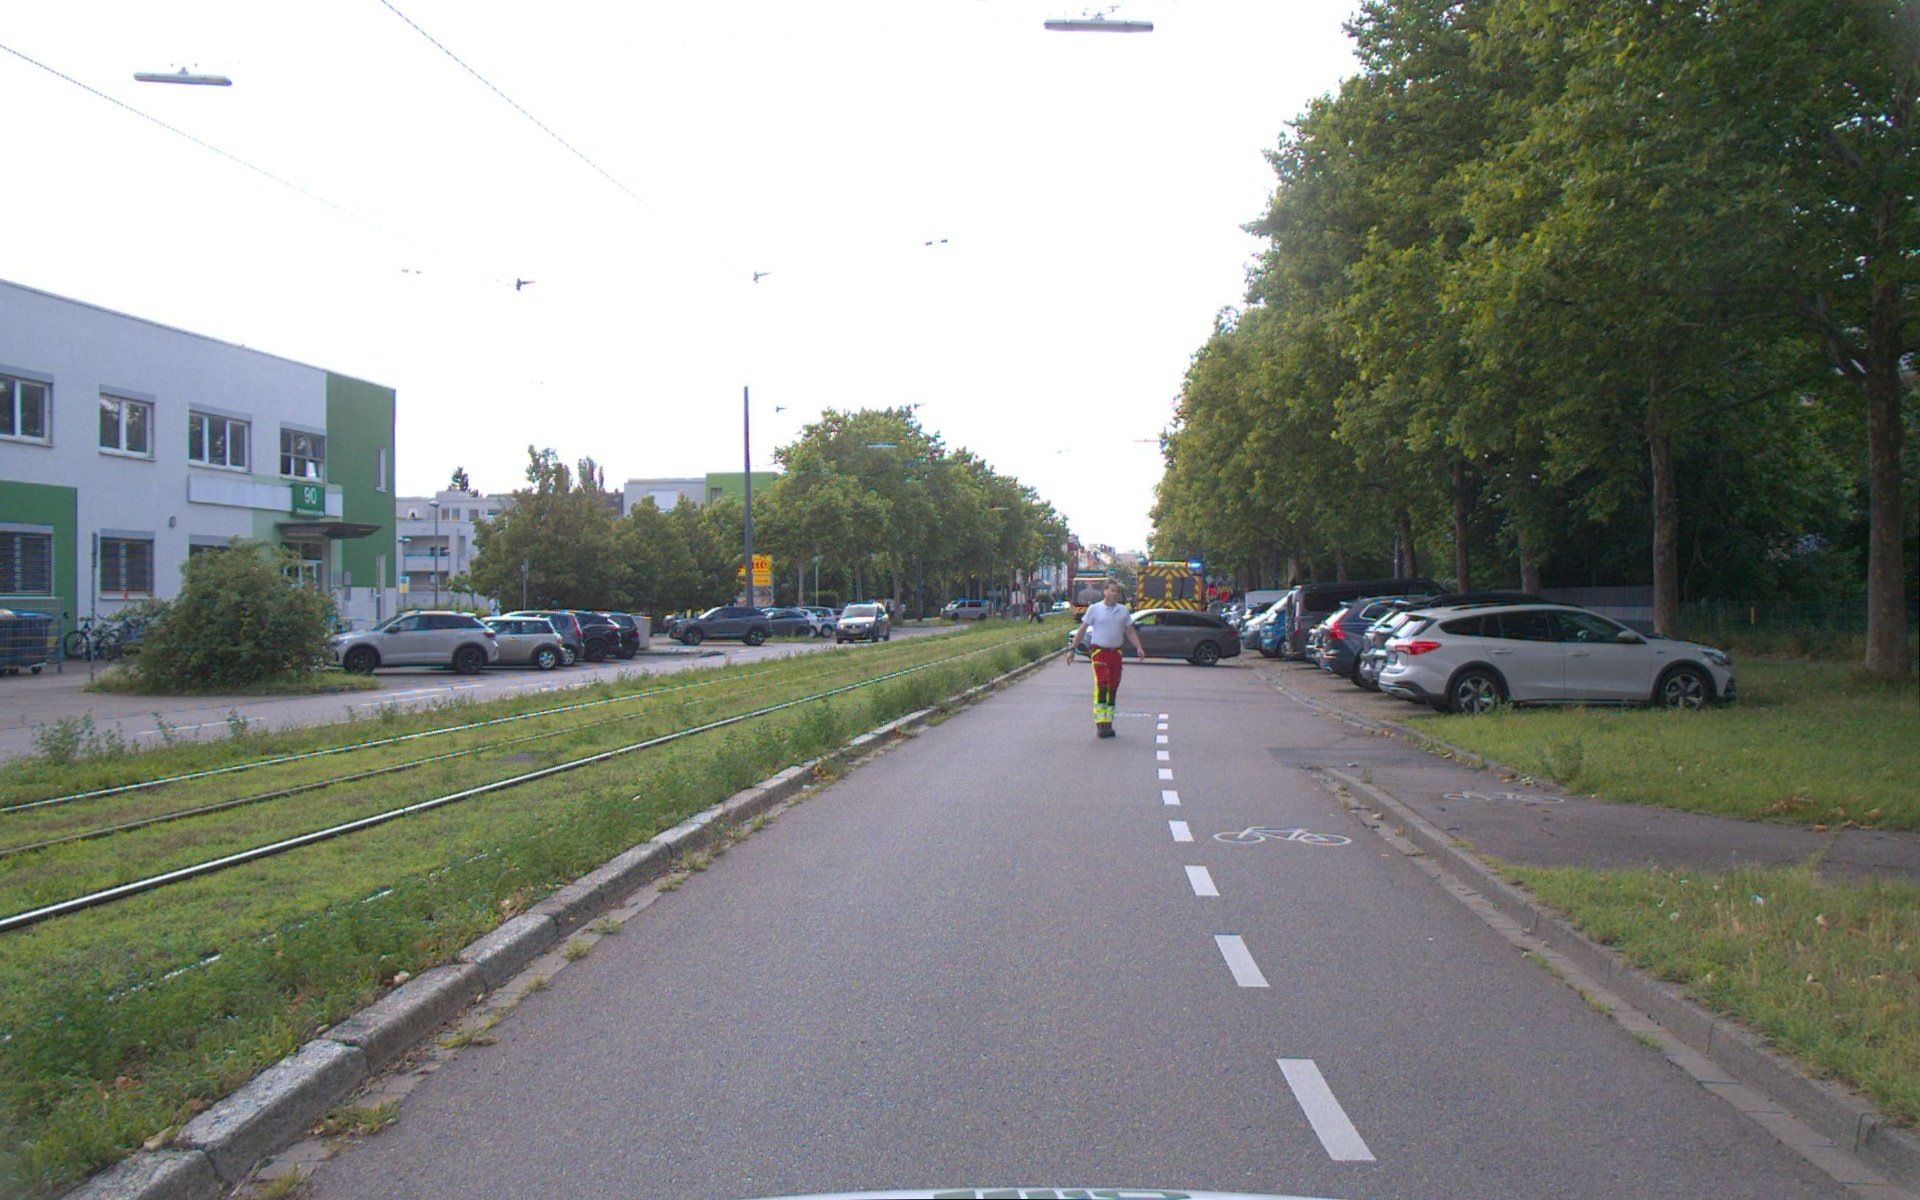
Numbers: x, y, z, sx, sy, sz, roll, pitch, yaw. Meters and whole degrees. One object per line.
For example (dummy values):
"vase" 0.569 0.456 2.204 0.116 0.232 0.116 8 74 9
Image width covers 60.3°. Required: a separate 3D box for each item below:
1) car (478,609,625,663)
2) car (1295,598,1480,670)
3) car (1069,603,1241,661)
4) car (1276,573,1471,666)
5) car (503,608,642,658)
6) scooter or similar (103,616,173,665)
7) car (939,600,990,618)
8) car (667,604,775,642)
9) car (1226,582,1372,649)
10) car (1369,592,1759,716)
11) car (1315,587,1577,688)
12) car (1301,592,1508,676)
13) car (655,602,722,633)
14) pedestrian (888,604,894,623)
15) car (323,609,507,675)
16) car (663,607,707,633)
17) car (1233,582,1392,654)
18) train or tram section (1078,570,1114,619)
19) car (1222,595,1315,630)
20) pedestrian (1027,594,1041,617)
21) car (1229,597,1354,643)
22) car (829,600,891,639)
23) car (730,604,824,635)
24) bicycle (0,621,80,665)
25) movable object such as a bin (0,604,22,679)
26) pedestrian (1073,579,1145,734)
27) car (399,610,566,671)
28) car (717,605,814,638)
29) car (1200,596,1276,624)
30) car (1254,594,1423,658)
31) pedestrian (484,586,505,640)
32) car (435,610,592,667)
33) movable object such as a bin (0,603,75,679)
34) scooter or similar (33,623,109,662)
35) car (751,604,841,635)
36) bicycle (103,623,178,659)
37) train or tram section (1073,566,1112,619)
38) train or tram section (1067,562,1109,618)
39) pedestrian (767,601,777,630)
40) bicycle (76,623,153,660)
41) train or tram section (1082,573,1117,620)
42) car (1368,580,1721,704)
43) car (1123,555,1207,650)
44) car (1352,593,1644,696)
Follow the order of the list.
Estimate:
"car" -12.461 1.063 50.432 4.162 1.508 1.871 -1 0 -22
"car" 9.775 0.773 38.070 3.881 1.520 1.757 -1 -1 7
"car" 5.161 0.840 44.094 4.362 1.410 1.767 2 0 0
"car" 10.224 0.485 41.176 4.449 2.160 1.857 -1 0 7
"car" -12.557 1.033 53.578 4.162 1.508 1.871 -1 0 -22
"scooter or similar" -20.549 1.021 41.356 1.281 1.176 1.090 1 -1 36
"car" 0.392 0.825 156.167 4.568 1.661 1.863 -1 0 -32
"car" -9.824 0.952 67.870 4.155 1.508 1.874 1 -1 -18
"car" 11.171 0.505 54.739 4.450 2.079 1.856 -1 0 3
"car" 7.988 0.696 22.223 4.560 1.499 1.849 -1 0 3
"car" 8.613 0.658 29.647 4.287 1.668 1.757 -1 0 9
"car" 9.413 0.709 35.235 3.887 1.633 1.755 -1 0 -3
"car" -16.872 1.059 102.728 3.924 1.780 1.990 2 0 39
"pedestrian" -5.406 1.069 130.392 0.412 1.499 0.467 -1 0 3
"car" -13.687 1.026 41.570 4.171 1.508 1.867 -1 0 -27
"car" -19.543 1.414 117.658 1.951 1.780 4.003 1 0 7
"car" 10.645 0.531 50.170 4.450 2.036 1.856 -1 0 3
"train or tram section" 10.632 -0.370 128.883 2.458 3.647 7.450 -2 -1 7
"car" 15.755 0.633 84.609 4.450 1.637 1.856 -1 0 3
"pedestrian" 4.932 0.371 110.402 0.862 1.552 0.751 1 -1 7
"car" 12.647 0.747 63.254 4.450 1.637 1.856 -1 0 3
"car" -4.318 0.816 72.384 1.951 1.585 4.373 -2 0 6
"car" -8.938 0.957 80.915 4.174 1.508 1.865 1 -1 -29
"bicycle" -22.209 1.024 39.873 1.818 1.003 0.459 1 -1 8
"movable object such as a bin" -20.370 0.861 34.040 0.984 1.546 1.713 1 1 10
"pedestrian" 1.689 0.624 18.788 0.786 1.716 0.851 0 0 5
"car" -12.882 1.075 44.624 4.162 1.508 1.871 -1 0 -22
"car" -9.148 1.014 78.012 4.174 1.508 1.865 1 -1 -29
"car" 17.238 0.630 102.668 4.450 1.637 1.856 -1 0 3
"car" 10.844 0.746 47.583 4.451 1.689 1.856 -1 0 3
"pedestrian" -16.266 0.443 57.779 0.534 1.860 0.509 -1 0 5
"car" -12.828 1.084 47.489 4.162 1.508 1.871 -1 0 -22
"movable object such as a bin" -20.113 0.872 35.719 0.984 1.546 1.606 1 1 10
"scooter or similar" -22.243 1.062 41.383 1.698 0.915 0.459 1 -1 8
"car" -8.320 0.984 83.888 4.174 1.508 1.865 1 -1 -29
"bicycle" -21.805 1.086 44.022 1.818 0.915 0.459 1 -1 8
"train or tram section" 9.744 -0.485 121.486 2.458 3.647 7.450 -2 -1 7
"train or tram section" 8.866 -0.599 114.101 2.458 3.647 7.450 -2 -1 7
"pedestrian" -11.226 0.920 98.876 0.456 1.706 0.603 -1 0 5
"bicycle" -21.925 1.069 42.882 1.818 0.915 0.459 1 -1 8
"train or tram section" 11.523 -0.256 136.248 2.458 3.647 7.450 -2 -1 7
"car" 8.514 0.602 24.416 4.560 1.654 1.849 -1 0 3
"car" 7.184 0.099 57.305 2.585 3.018 6.304 2 0 9
"car" 8.682 0.711 27.018 4.287 1.527 1.757 -1 0 9
